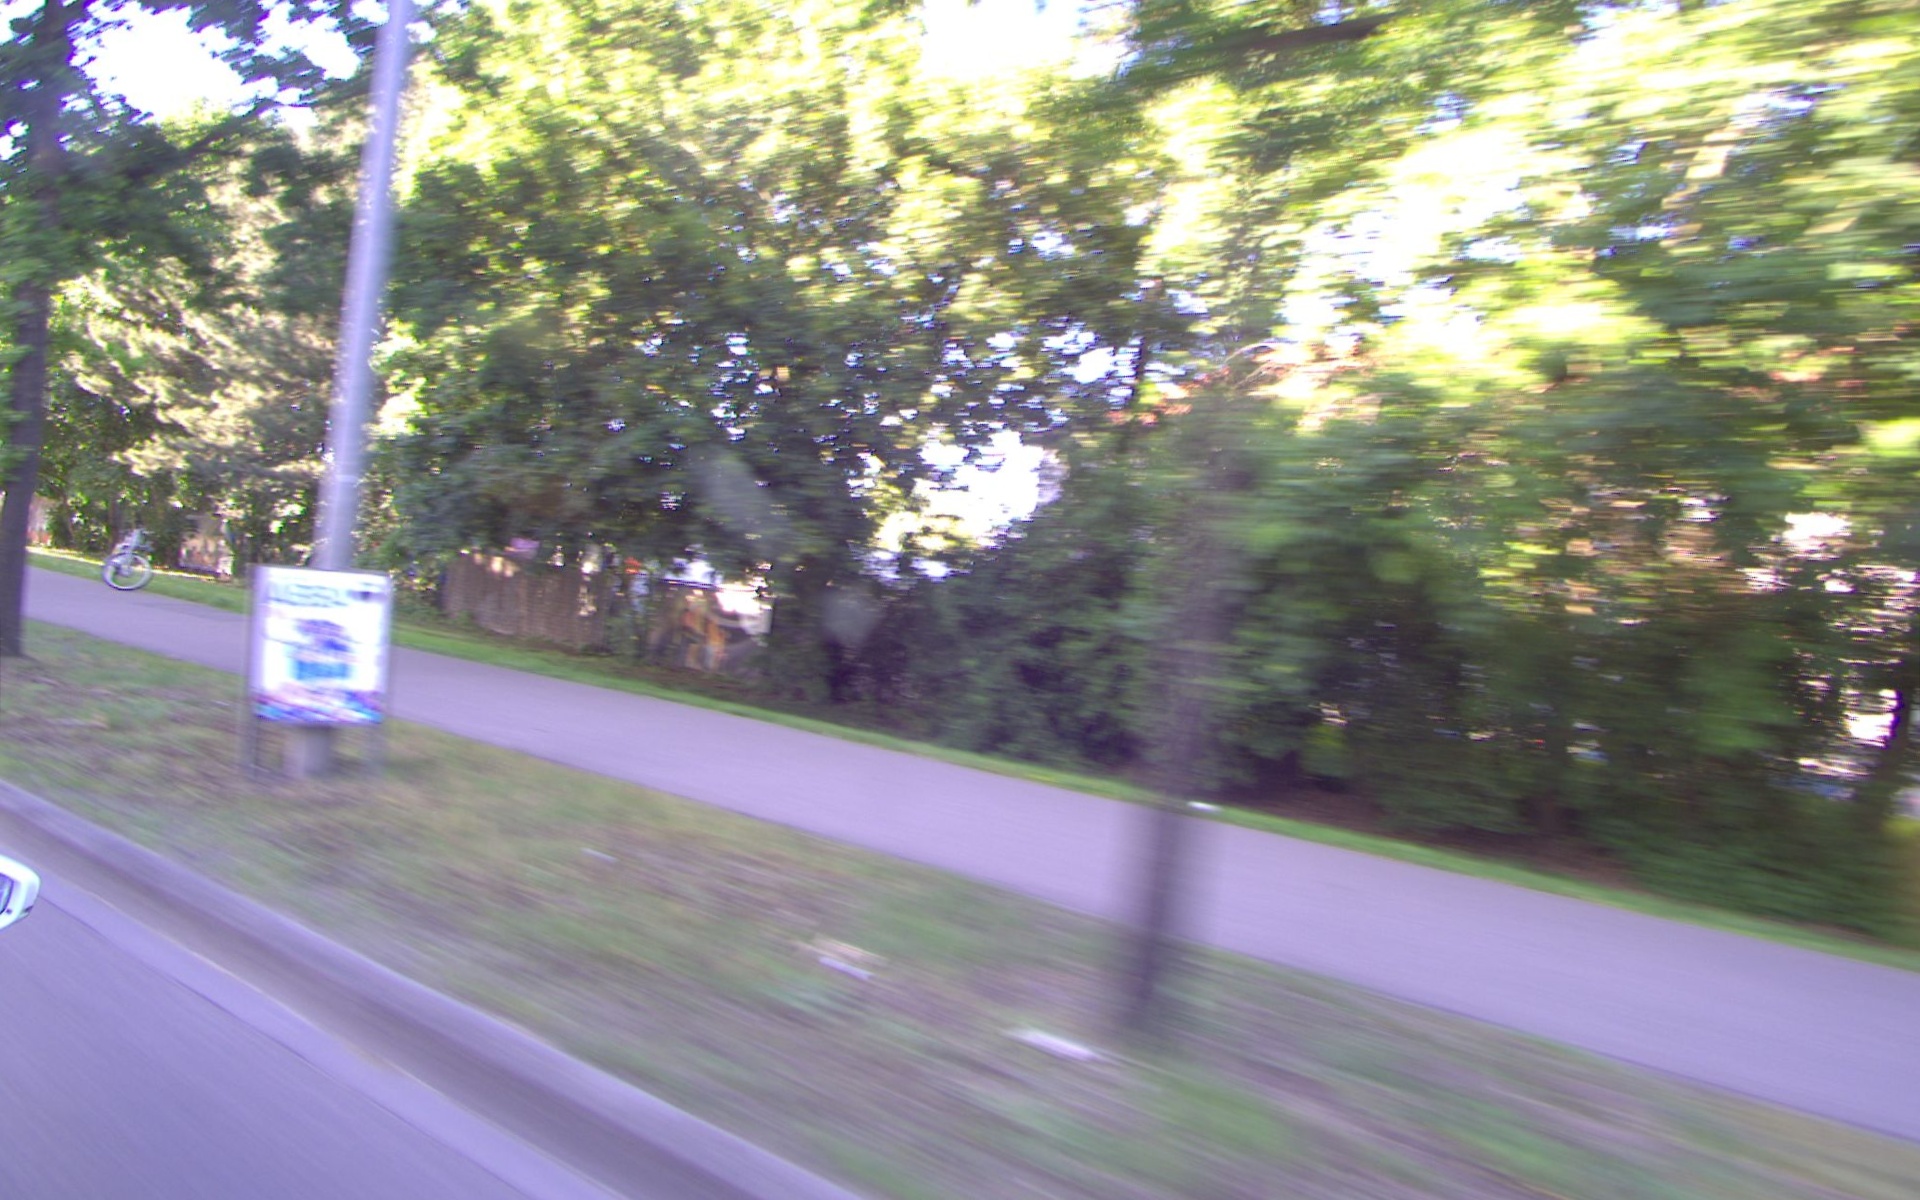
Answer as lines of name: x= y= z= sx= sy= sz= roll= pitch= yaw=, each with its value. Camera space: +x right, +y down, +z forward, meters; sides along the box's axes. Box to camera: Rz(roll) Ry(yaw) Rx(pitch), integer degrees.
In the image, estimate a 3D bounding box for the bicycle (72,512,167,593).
bicycle: x=-13.819 y=-0.787 z=16.529 sx=1.683 sy=1.145 sz=0.774 roll=7 pitch=0 yaw=37
